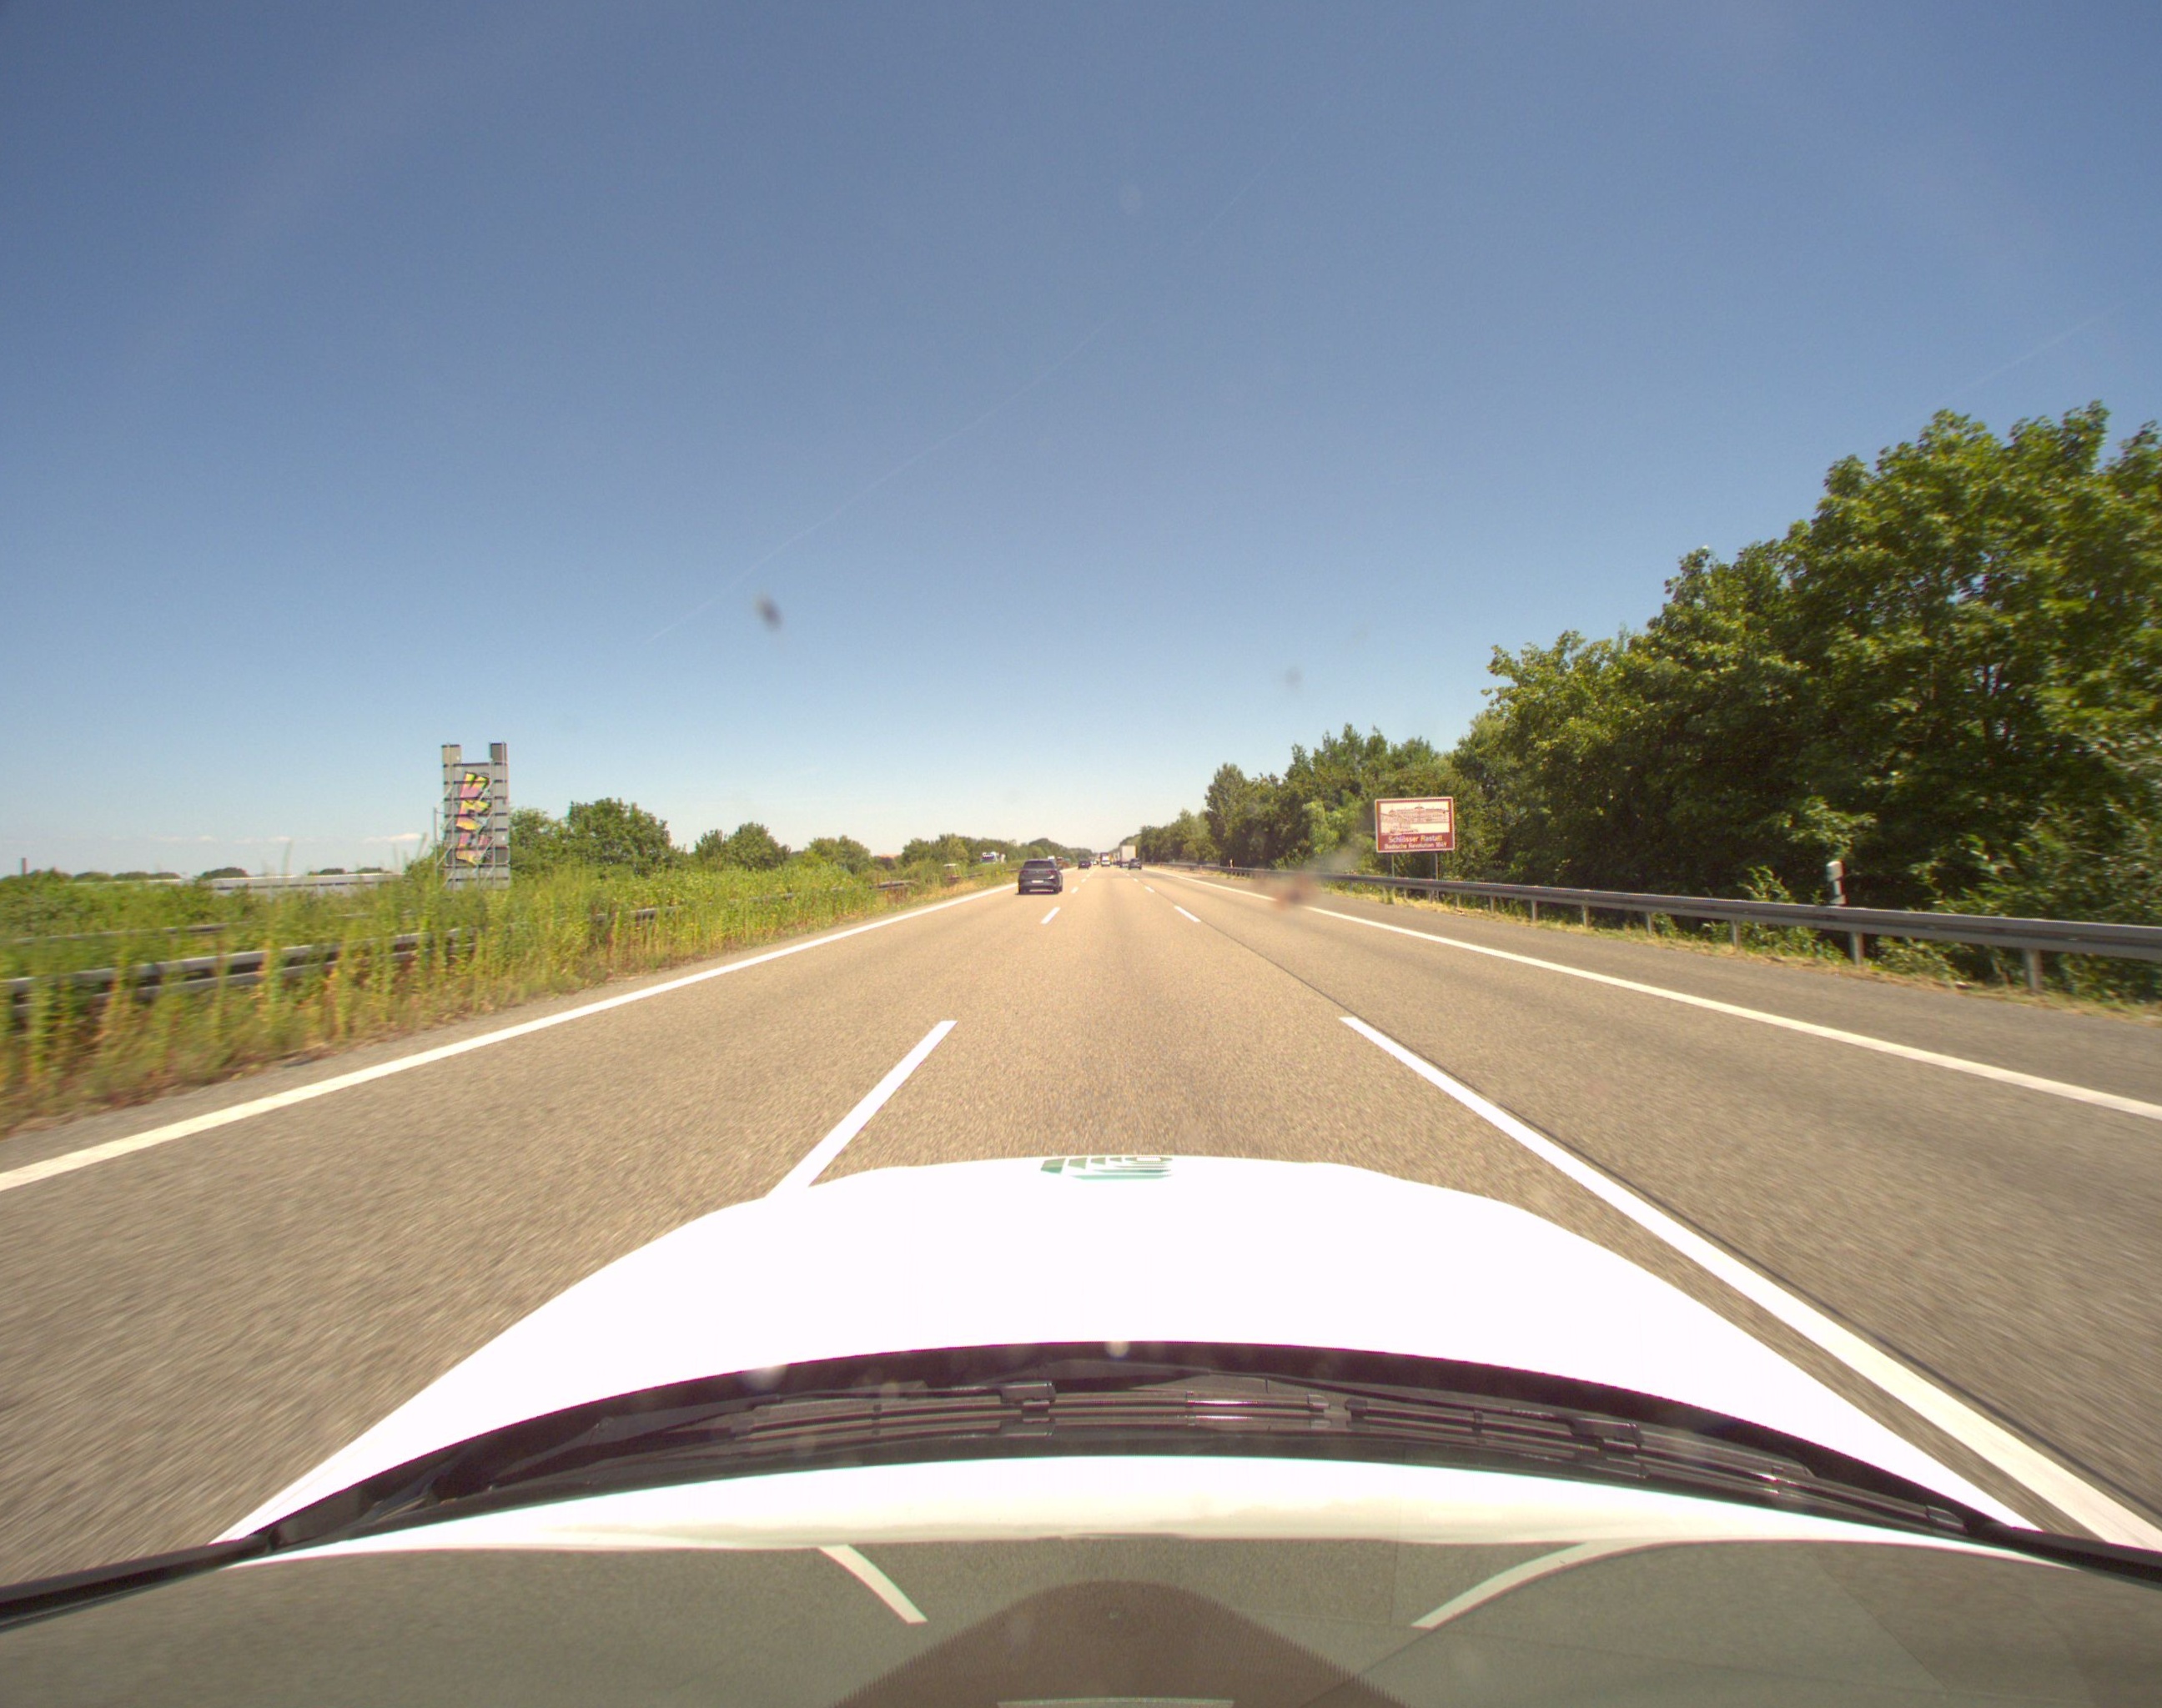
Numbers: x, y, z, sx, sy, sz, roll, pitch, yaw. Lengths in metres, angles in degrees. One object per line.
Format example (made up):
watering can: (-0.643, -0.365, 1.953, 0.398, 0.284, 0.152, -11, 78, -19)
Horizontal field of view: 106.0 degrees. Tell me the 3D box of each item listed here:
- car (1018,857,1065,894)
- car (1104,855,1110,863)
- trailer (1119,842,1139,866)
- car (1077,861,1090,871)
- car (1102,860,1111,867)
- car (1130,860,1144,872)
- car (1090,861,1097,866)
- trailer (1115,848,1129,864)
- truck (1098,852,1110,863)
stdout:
car: (-1.733, 0.921, 36.839, 1.753, 1.531, 4.287, 0, 0, 2)
car: (7.514, 1.379, 234.758, 1.900, 2.425, 4.287, 0, 0, 2)
trailer: (8.769, 0.080, 150.527, 3.421, 4.181, 13.637, 0, -1, 2)
car: (0.349, 1.885, 127.088, 1.893, 1.531, 4.085, 0, 0, 2)
car: (5.205, 1.966, 167.940, 1.893, 1.531, 4.085, 0, 0, 2)
car: (8.019, 1.666, 116.786, 1.838, 1.629, 4.136, -2, -1, 2)
car: (3.661, 2.791, 237.049, 1.900, 1.531, 4.287, 0, 0, 2)
trailer: (10.580, 0.443, 211.072, 3.112, 3.926, 9.937, 0, 0, 1)
truck: (7.356, 1.104, 258.977, 3.652, 3.726, 7.113, 0, 0, 3)
